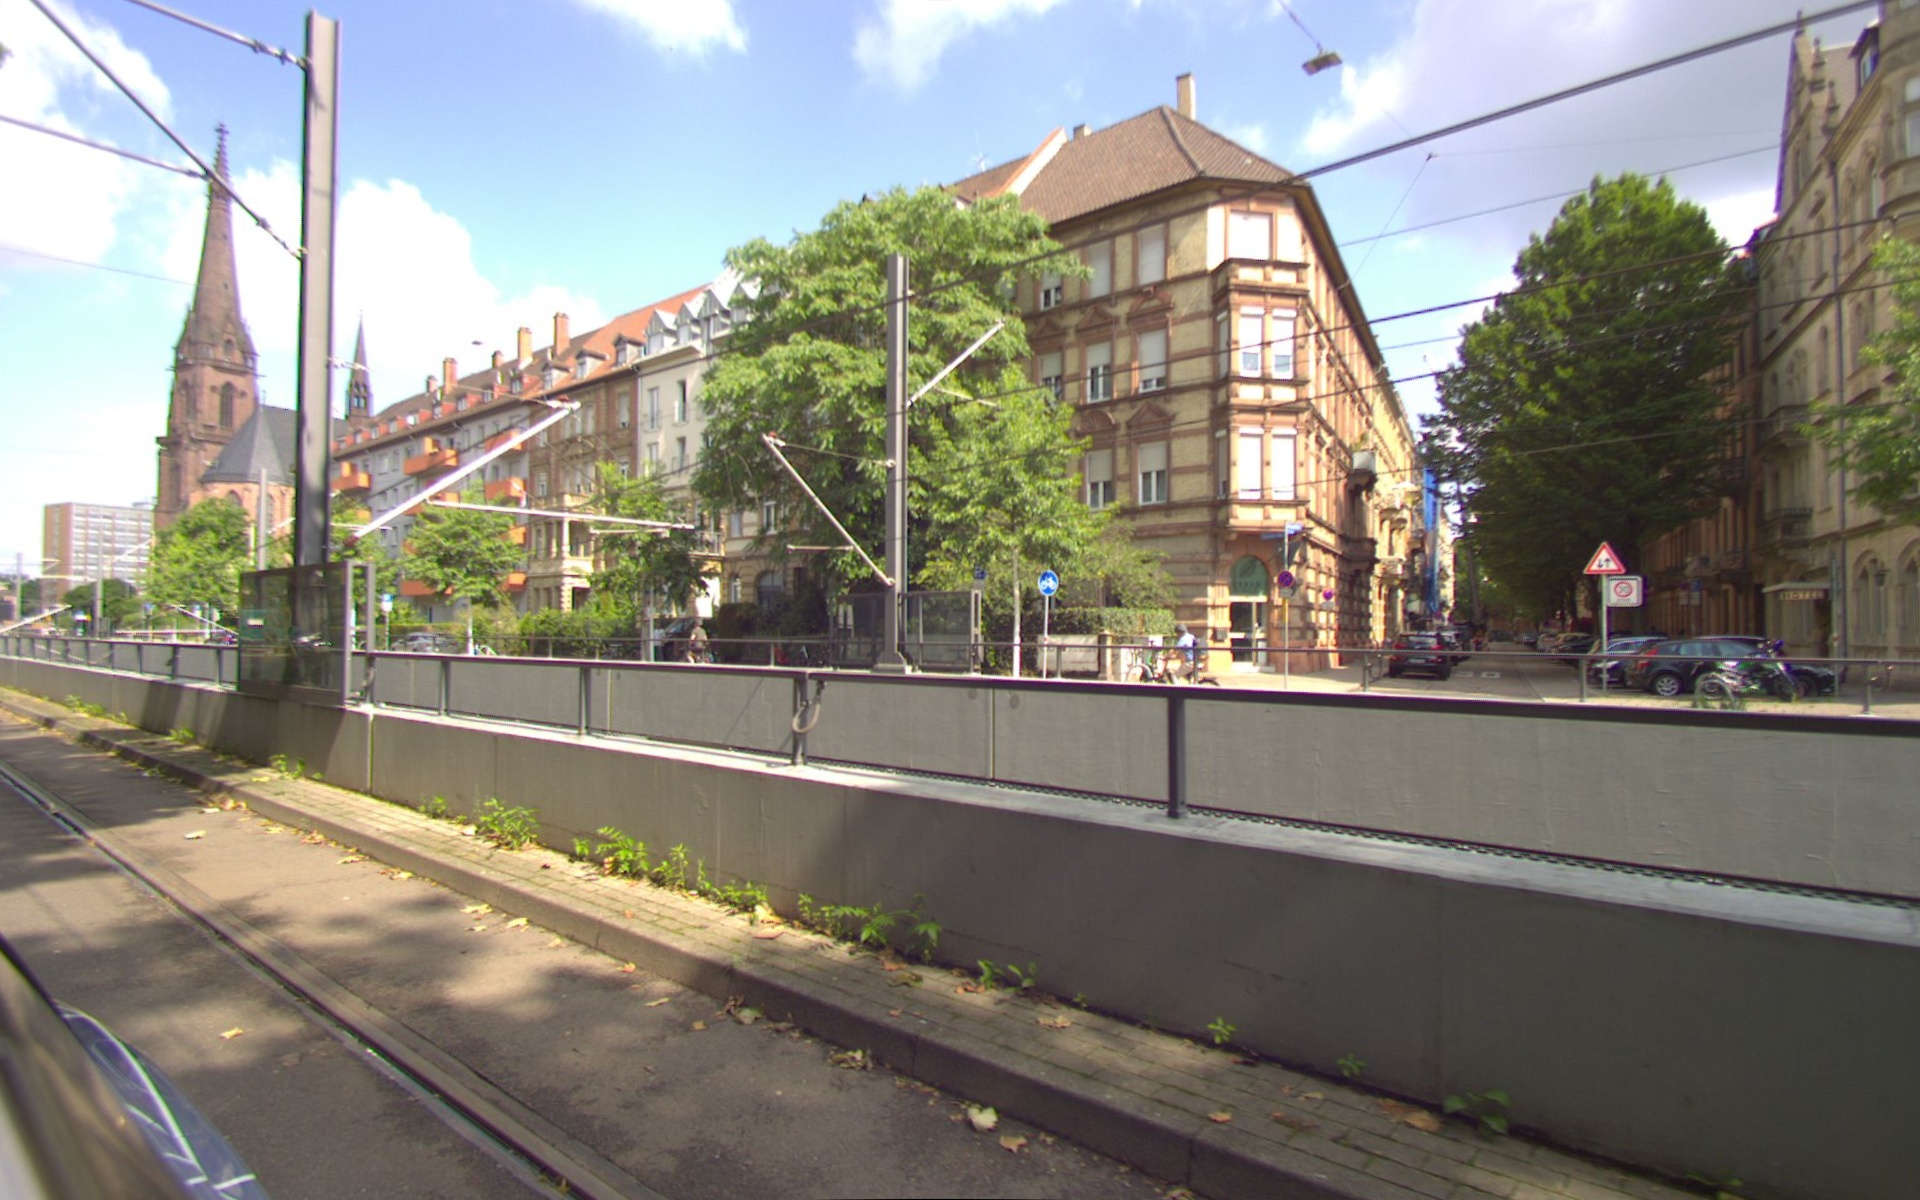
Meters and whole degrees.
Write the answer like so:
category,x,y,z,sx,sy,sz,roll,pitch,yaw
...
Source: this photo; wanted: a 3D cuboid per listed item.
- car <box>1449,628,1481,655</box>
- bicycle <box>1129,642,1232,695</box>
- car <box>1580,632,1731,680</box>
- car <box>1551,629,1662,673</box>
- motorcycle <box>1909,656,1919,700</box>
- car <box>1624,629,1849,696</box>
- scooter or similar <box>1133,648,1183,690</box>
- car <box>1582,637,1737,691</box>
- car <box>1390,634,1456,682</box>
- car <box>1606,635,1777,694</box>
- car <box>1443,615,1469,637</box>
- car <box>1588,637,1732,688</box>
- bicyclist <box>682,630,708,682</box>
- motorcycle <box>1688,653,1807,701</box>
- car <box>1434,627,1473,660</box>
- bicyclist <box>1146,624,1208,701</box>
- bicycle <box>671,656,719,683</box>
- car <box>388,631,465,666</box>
category,x,y,z,sx,sy,sz,roll,pitch,yaw
car,36.337,2.966,72.776,1.919,1.846,3.961,-1,-2,28
bicycle,4.378,1.342,20.168,1.897,1.003,0.718,-2,-4,41
car,23.406,1.907,34.262,3.985,1.507,1.979,-3,-4,31
car,26.840,2.082,42.048,3.770,1.714,1.663,-1,-2,37
motorcycle,20.789,1.637,20.926,0.485,0.930,1.597,1,-2,-31
car,18.886,1.490,24.859,4.119,1.532,1.667,-1,-2,28
scooter or similar,5.300,1.841,27.136,1.287,1.090,0.373,-2,0,41
car,20.501,1.846,29.824,3.497,1.503,1.668,-1,-2,27
car,16.215,1.980,35.355,1.916,1.547,3.962,0,-2,27
car,19.610,1.693,27.313,3.499,1.503,1.667,-1,-2,28
car,46.138,2.446,94.133,1.920,1.956,3.959,-1,-2,30
car,21.784,1.902,31.644,3.500,1.497,1.667,-1,-2,29
bicyclist,-8.171,1.725,31.226,0.607,1.556,0.498,-2,-4,40
motorcycle,17.390,1.695,22.413,1.992,1.002,0.518,-1,-2,29
car,30.402,2.667,62.294,1.920,1.956,3.959,-1,-2,30
bicyclist,4.328,1.236,20.188,0.977,1.490,0.731,-2,-4,40
bicycle,-8.177,2.126,31.182,1.815,0.774,0.491,-2,-3,41
car,-26.235,2.354,49.720,4.111,1.650,1.973,-2,-3,41
